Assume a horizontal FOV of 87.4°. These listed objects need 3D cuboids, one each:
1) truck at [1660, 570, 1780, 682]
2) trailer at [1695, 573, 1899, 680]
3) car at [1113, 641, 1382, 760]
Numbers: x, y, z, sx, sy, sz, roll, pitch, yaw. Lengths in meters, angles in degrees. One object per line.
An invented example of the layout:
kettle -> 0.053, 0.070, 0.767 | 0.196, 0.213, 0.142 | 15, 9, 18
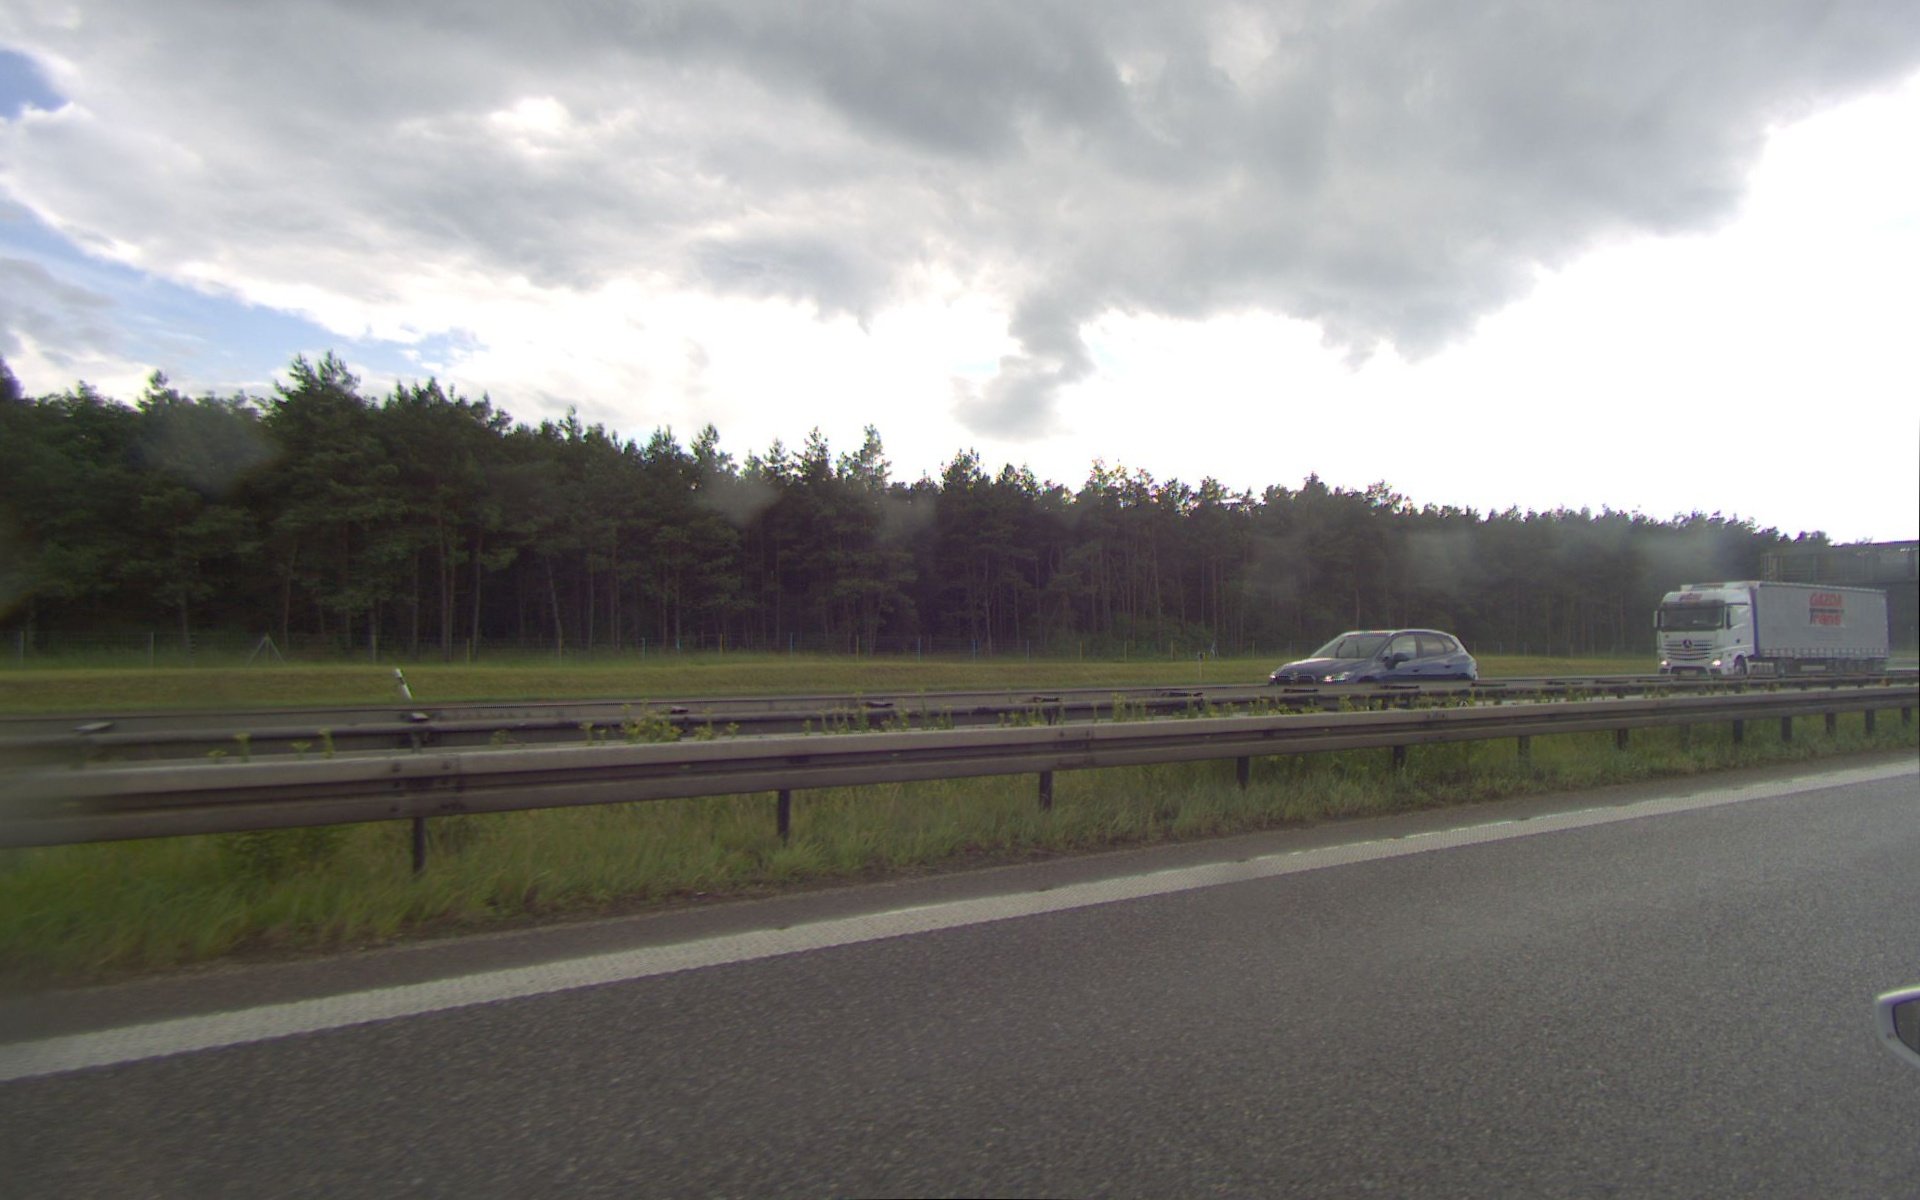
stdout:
truck -> 30.865, 1.048, 40.789 | 4.651, 4.294, 2.129 | 2, 0, -30
trailer -> 37.496, 1.244, 44.677 | 14.453, 4.297, 2.087 | 2, 0, -30
car -> 4.836, 1.551, 16.702 | 4.422, 1.684, 1.850 | 1, -1, -32
